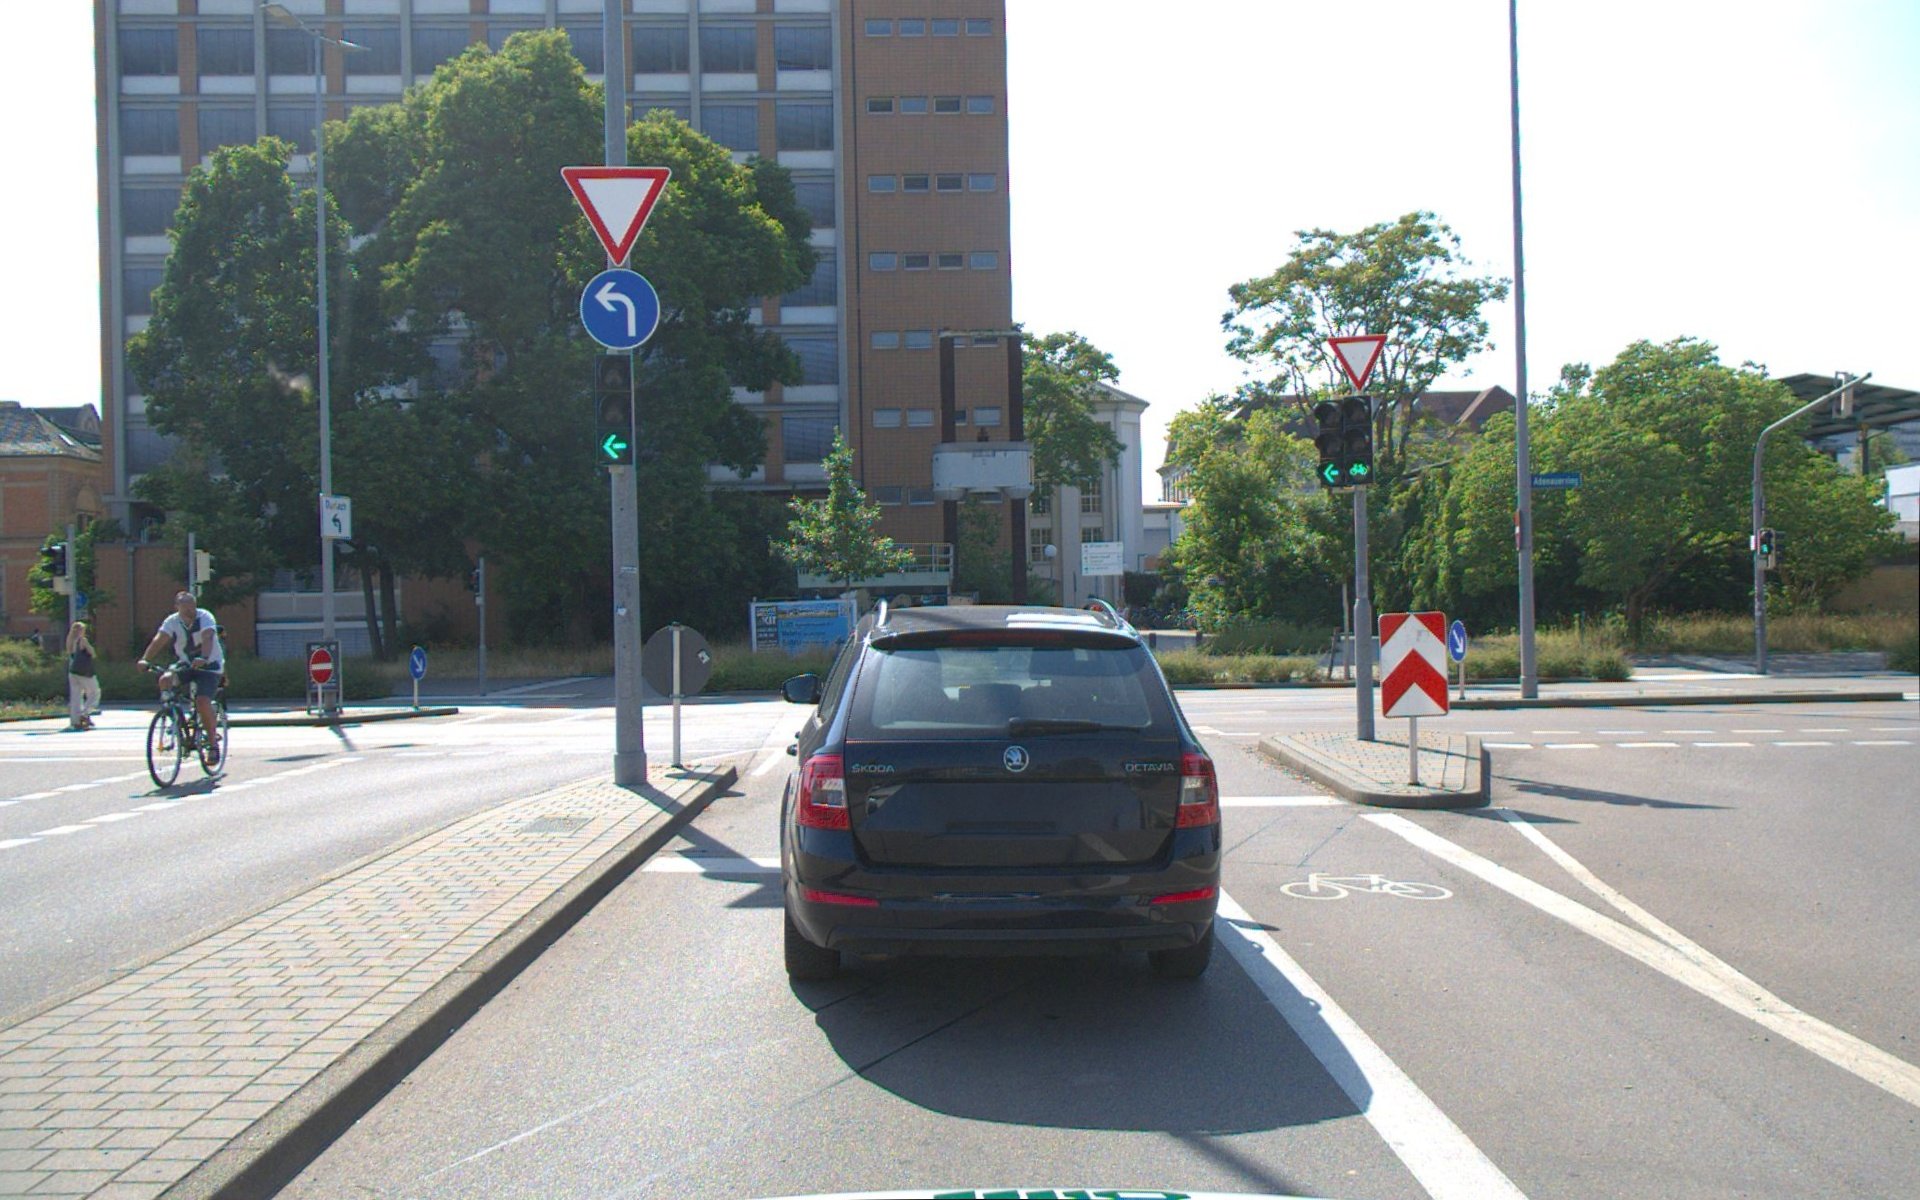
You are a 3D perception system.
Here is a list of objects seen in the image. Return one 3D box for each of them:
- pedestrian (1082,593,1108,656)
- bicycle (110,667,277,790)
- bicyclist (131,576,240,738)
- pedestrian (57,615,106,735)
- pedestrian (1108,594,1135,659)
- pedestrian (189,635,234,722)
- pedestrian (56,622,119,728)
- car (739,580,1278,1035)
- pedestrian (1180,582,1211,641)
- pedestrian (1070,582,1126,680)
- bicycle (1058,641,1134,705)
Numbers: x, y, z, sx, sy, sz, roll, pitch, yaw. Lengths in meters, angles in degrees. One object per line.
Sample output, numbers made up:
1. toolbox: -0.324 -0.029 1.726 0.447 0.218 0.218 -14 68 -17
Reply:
1. pedestrian: 4.148 0.758 50.685 0.584 1.907 0.639 -2 0 22
2. bicycle: -7.214 1.177 15.669 0.690 0.994 2.029 -2 0 -3
3. bicyclist: -7.238 0.521 15.495 0.528 1.441 1.029 -2 -1 -3
4. pedestrian: -15.184 1.281 28.582 0.610 2.049 0.678 2 -2 -38
5. pedestrian: 4.840 0.795 49.633 0.624 1.907 0.796 -3 0 -1
6. pedestrian: -13.537 1.406 29.925 0.621 1.518 0.614 -2 0 -17
7. pedestrian: -15.142 1.300 28.726 0.724 1.783 1.105 -2 -2 -17
8. car: 0.150 0.678 7.273 1.743 1.468 3.817 0 0 0
9. pedestrian: 7.905 0.389 55.493 0.778 1.907 0.639 -3 0 24
10. pedestrian: 2.129 0.476 25.639 0.573 1.492 1.010 0 -1 -13
11. bicycle: 2.101 1.119 25.802 0.586 0.948 2.021 0 -1 -13
